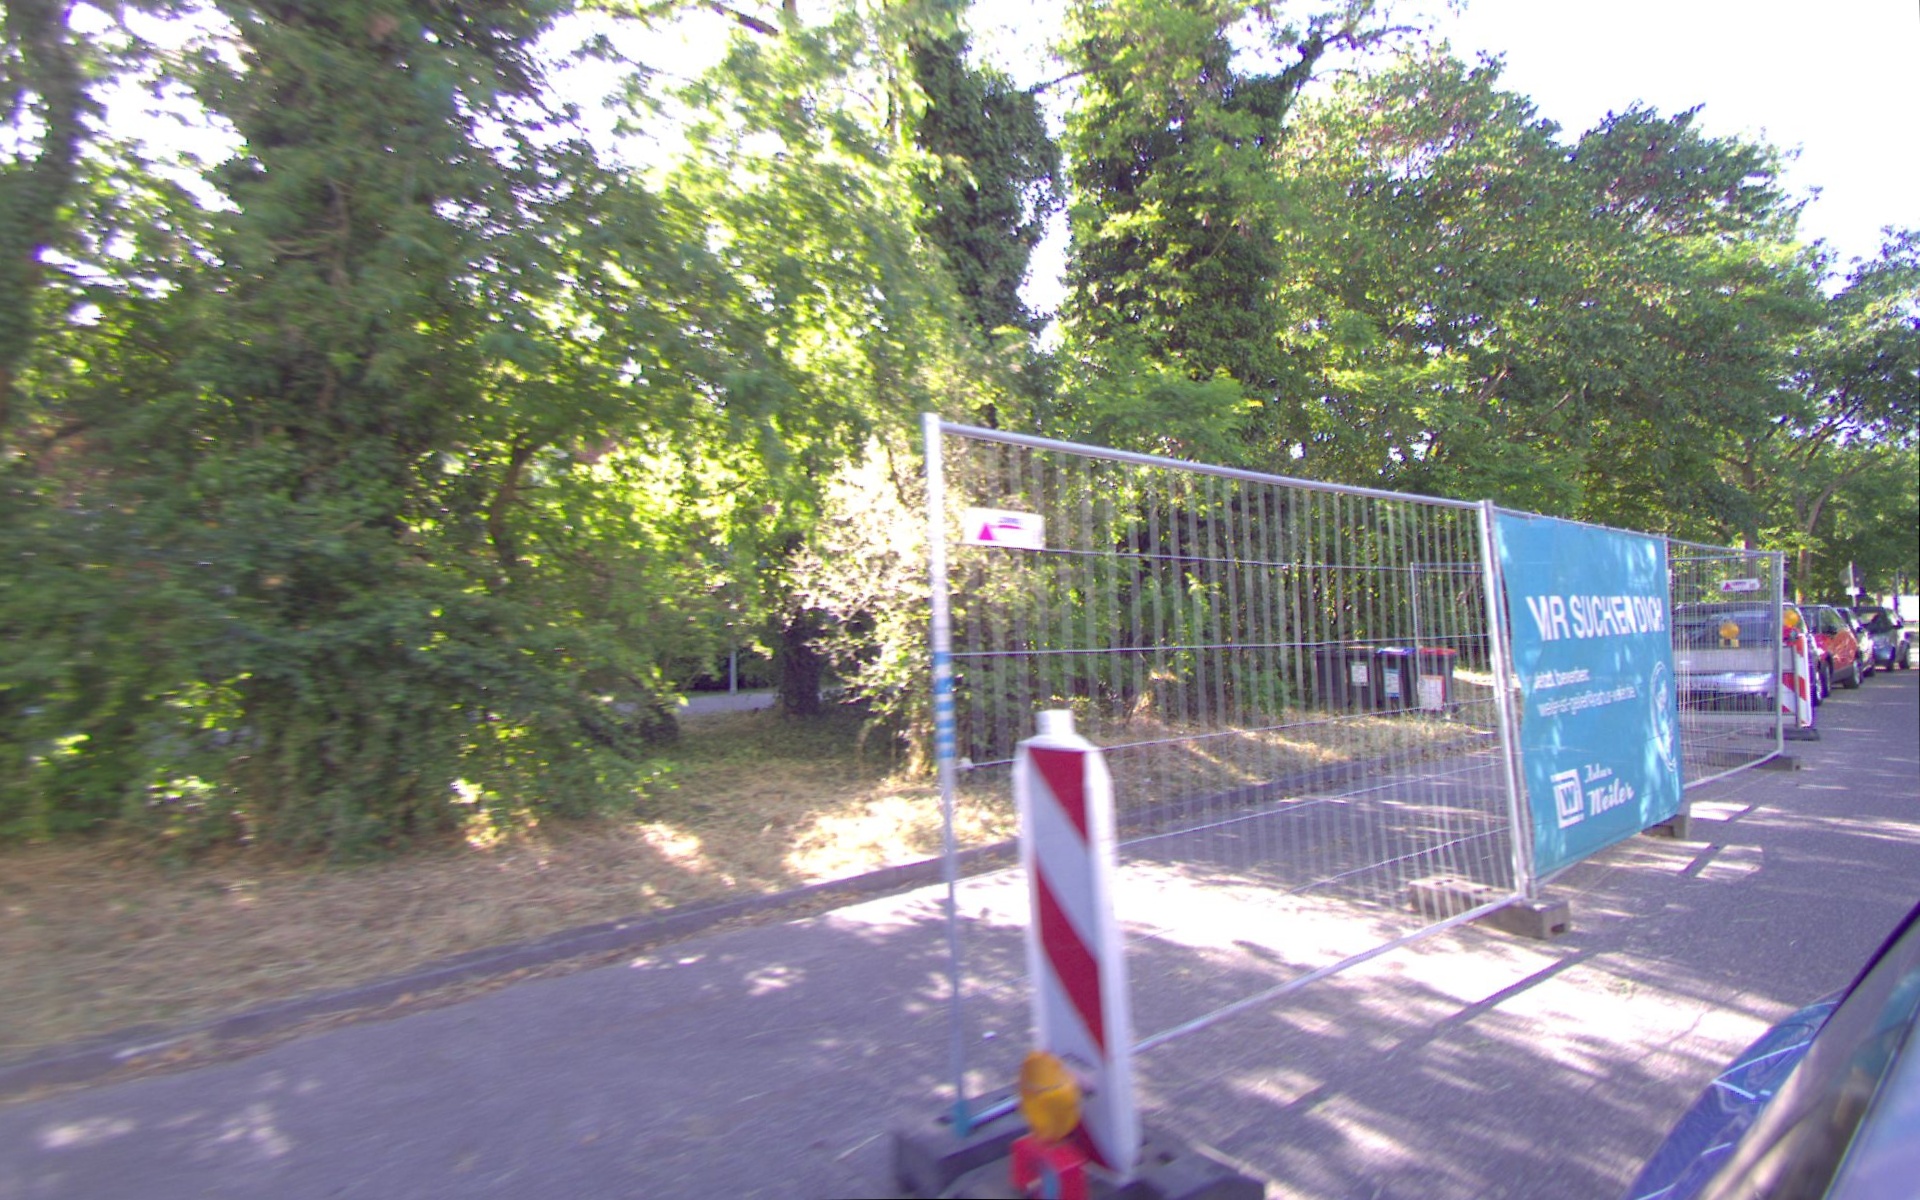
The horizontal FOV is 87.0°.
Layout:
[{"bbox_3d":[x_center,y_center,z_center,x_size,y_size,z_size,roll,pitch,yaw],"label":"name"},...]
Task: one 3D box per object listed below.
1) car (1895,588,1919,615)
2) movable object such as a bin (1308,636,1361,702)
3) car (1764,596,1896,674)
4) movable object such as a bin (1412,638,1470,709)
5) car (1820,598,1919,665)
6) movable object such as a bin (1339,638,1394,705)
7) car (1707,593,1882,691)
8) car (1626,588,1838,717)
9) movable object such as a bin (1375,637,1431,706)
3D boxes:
[{"bbox_3d":[73.320,0.114,75.332,1.966,2.030,5.262,0,-1,-42],"label":"car"},{"bbox_3d":[5.231,0.955,14.142,0.550,0.872,0.484,0,-2,-43],"label":"movable object such as a bin"},{"bbox_3d":[18.822,0.728,21.838,4.080,1.529,1.713,0,-3,-44],"label":"car"},{"bbox_3d":[6.186,0.936,13.009,0.550,0.872,0.484,0,-2,-43],"label":"movable object such as a bin"},{"bbox_3d":[22.107,0.741,24.435,2.628,1.529,1.497,0,-3,-38],"label":"car"},{"bbox_3d":[5.518,0.956,13.735,0.550,0.872,0.484,0,-2,-43],"label":"movable object such as a bin"},{"bbox_3d":[15.218,0.710,18.395,3.994,1.594,1.681,0,-3,-40],"label":"car"},{"bbox_3d":[11.453,0.704,14.919,4.066,1.643,1.680,0,-3,-42],"label":"car"},{"bbox_3d":[5.851,0.930,13.369,0.550,0.872,0.484,0,-2,-43],"label":"movable object such as a bin"}]
